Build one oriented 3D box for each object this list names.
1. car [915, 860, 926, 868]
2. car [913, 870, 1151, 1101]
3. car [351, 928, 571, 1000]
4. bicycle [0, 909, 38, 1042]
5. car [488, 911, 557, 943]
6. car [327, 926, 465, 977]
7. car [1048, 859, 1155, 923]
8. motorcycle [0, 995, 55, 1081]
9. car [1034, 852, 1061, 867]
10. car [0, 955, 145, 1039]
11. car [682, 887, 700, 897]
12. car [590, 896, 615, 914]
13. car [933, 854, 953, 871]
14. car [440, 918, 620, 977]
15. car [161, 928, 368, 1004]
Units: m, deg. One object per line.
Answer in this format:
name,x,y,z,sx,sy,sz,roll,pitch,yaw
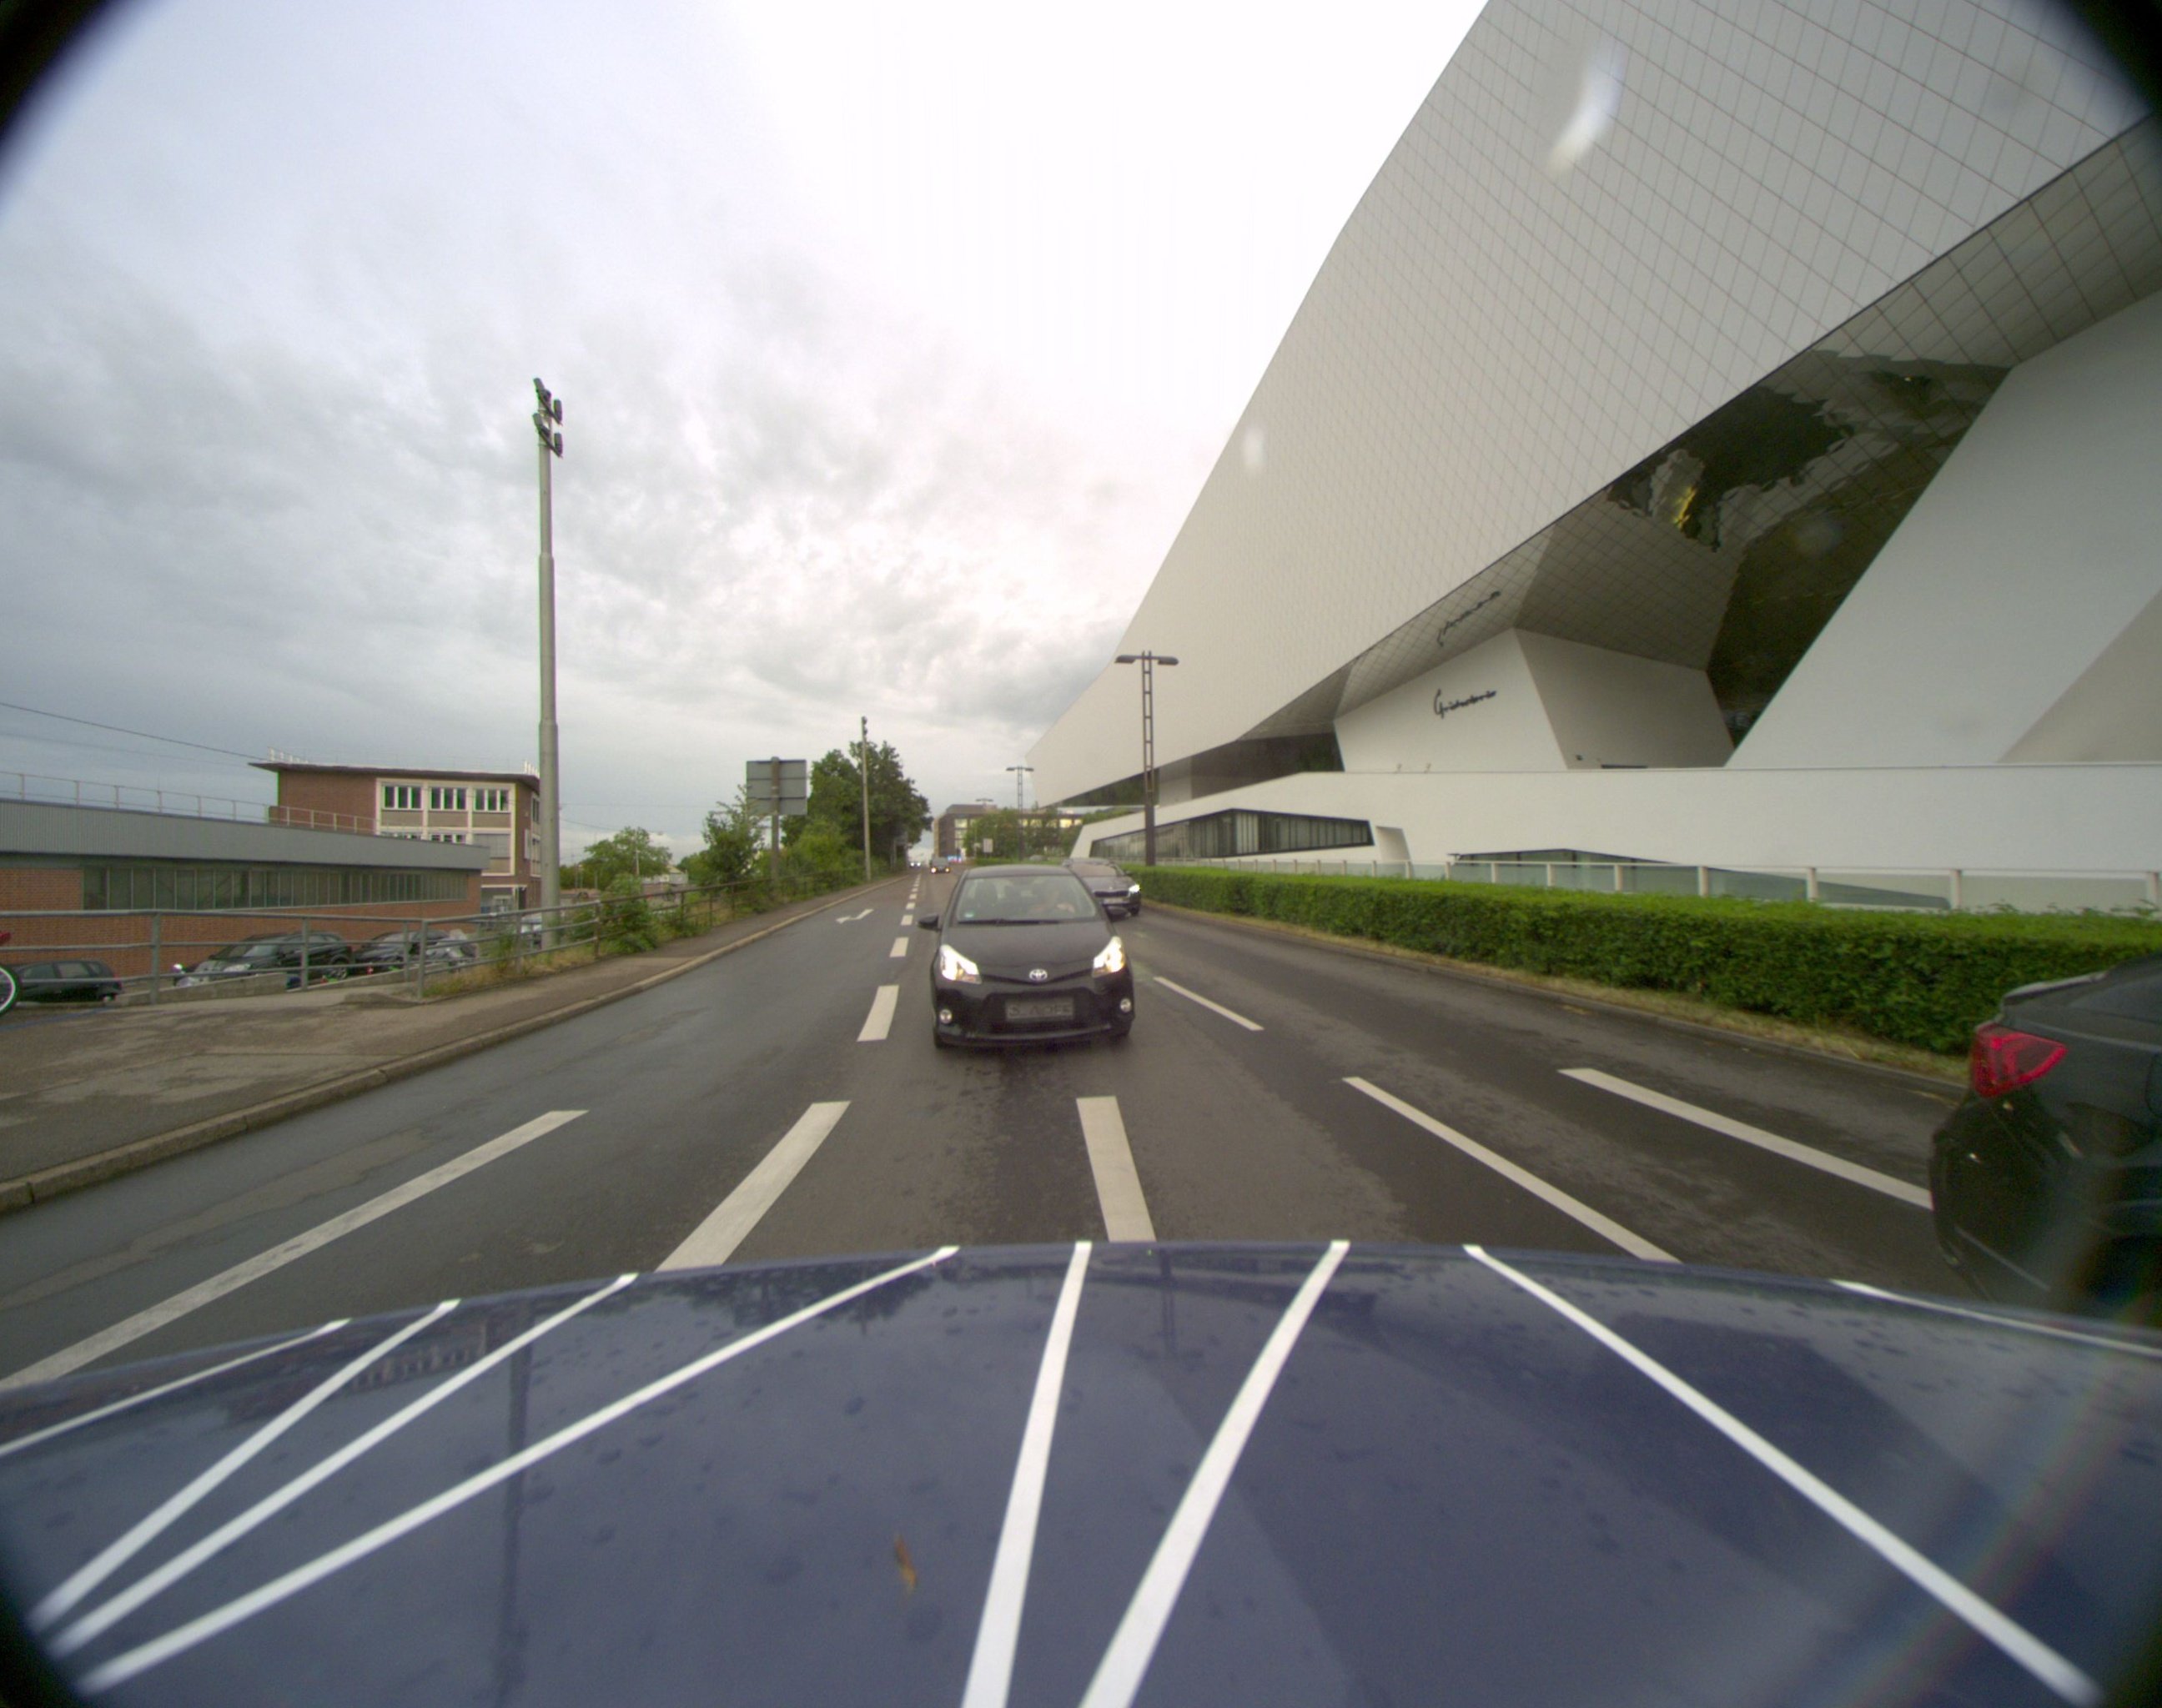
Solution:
car,-32.643,1.984,154.618,1.819,1.429,4.298,0,-2,-15
car,-0.622,0.989,7.553,1.695,1.498,4.008,-2,1,-8
car,-14.863,2.613,18.331,3.995,1.417,1.722,-2,-1,5
bicycle,-10.387,1.093,6.573,1.547,1.148,0.450,0,2,-27
car,-30.295,3.932,41.346,1.734,1.380,3.995,-2,-1,-17
car,-25.685,3.606,28.733,1.720,1.396,4.273,-2,-1,-7
car,0.397,0.878,20.047,1.818,1.430,4.297,-2,0,-12
motorcycle,-13.416,2.244,8.900,1.618,0.916,0.420,-3,1,-24
car,-3.152,0.496,70.651,1.726,1.330,3.995,-2,1,-13
car,-23.242,3.136,16.313,1.721,1.417,3.997,-2,-1,-10
car,-55.405,5.391,107.869,1.724,1.417,3.991,-1,-1,-34
car,-42.053,4.440,66.867,1.723,1.417,3.991,-1,-1,-30
car,-12.918,0.752,71.329,1.750,1.466,4.065,-2,1,-9
car,-15.818,2.681,21.925,3.995,1.417,1.722,-2,-1,5
car,-24.442,3.270,23.050,1.784,1.657,4.503,-2,-1,-7
